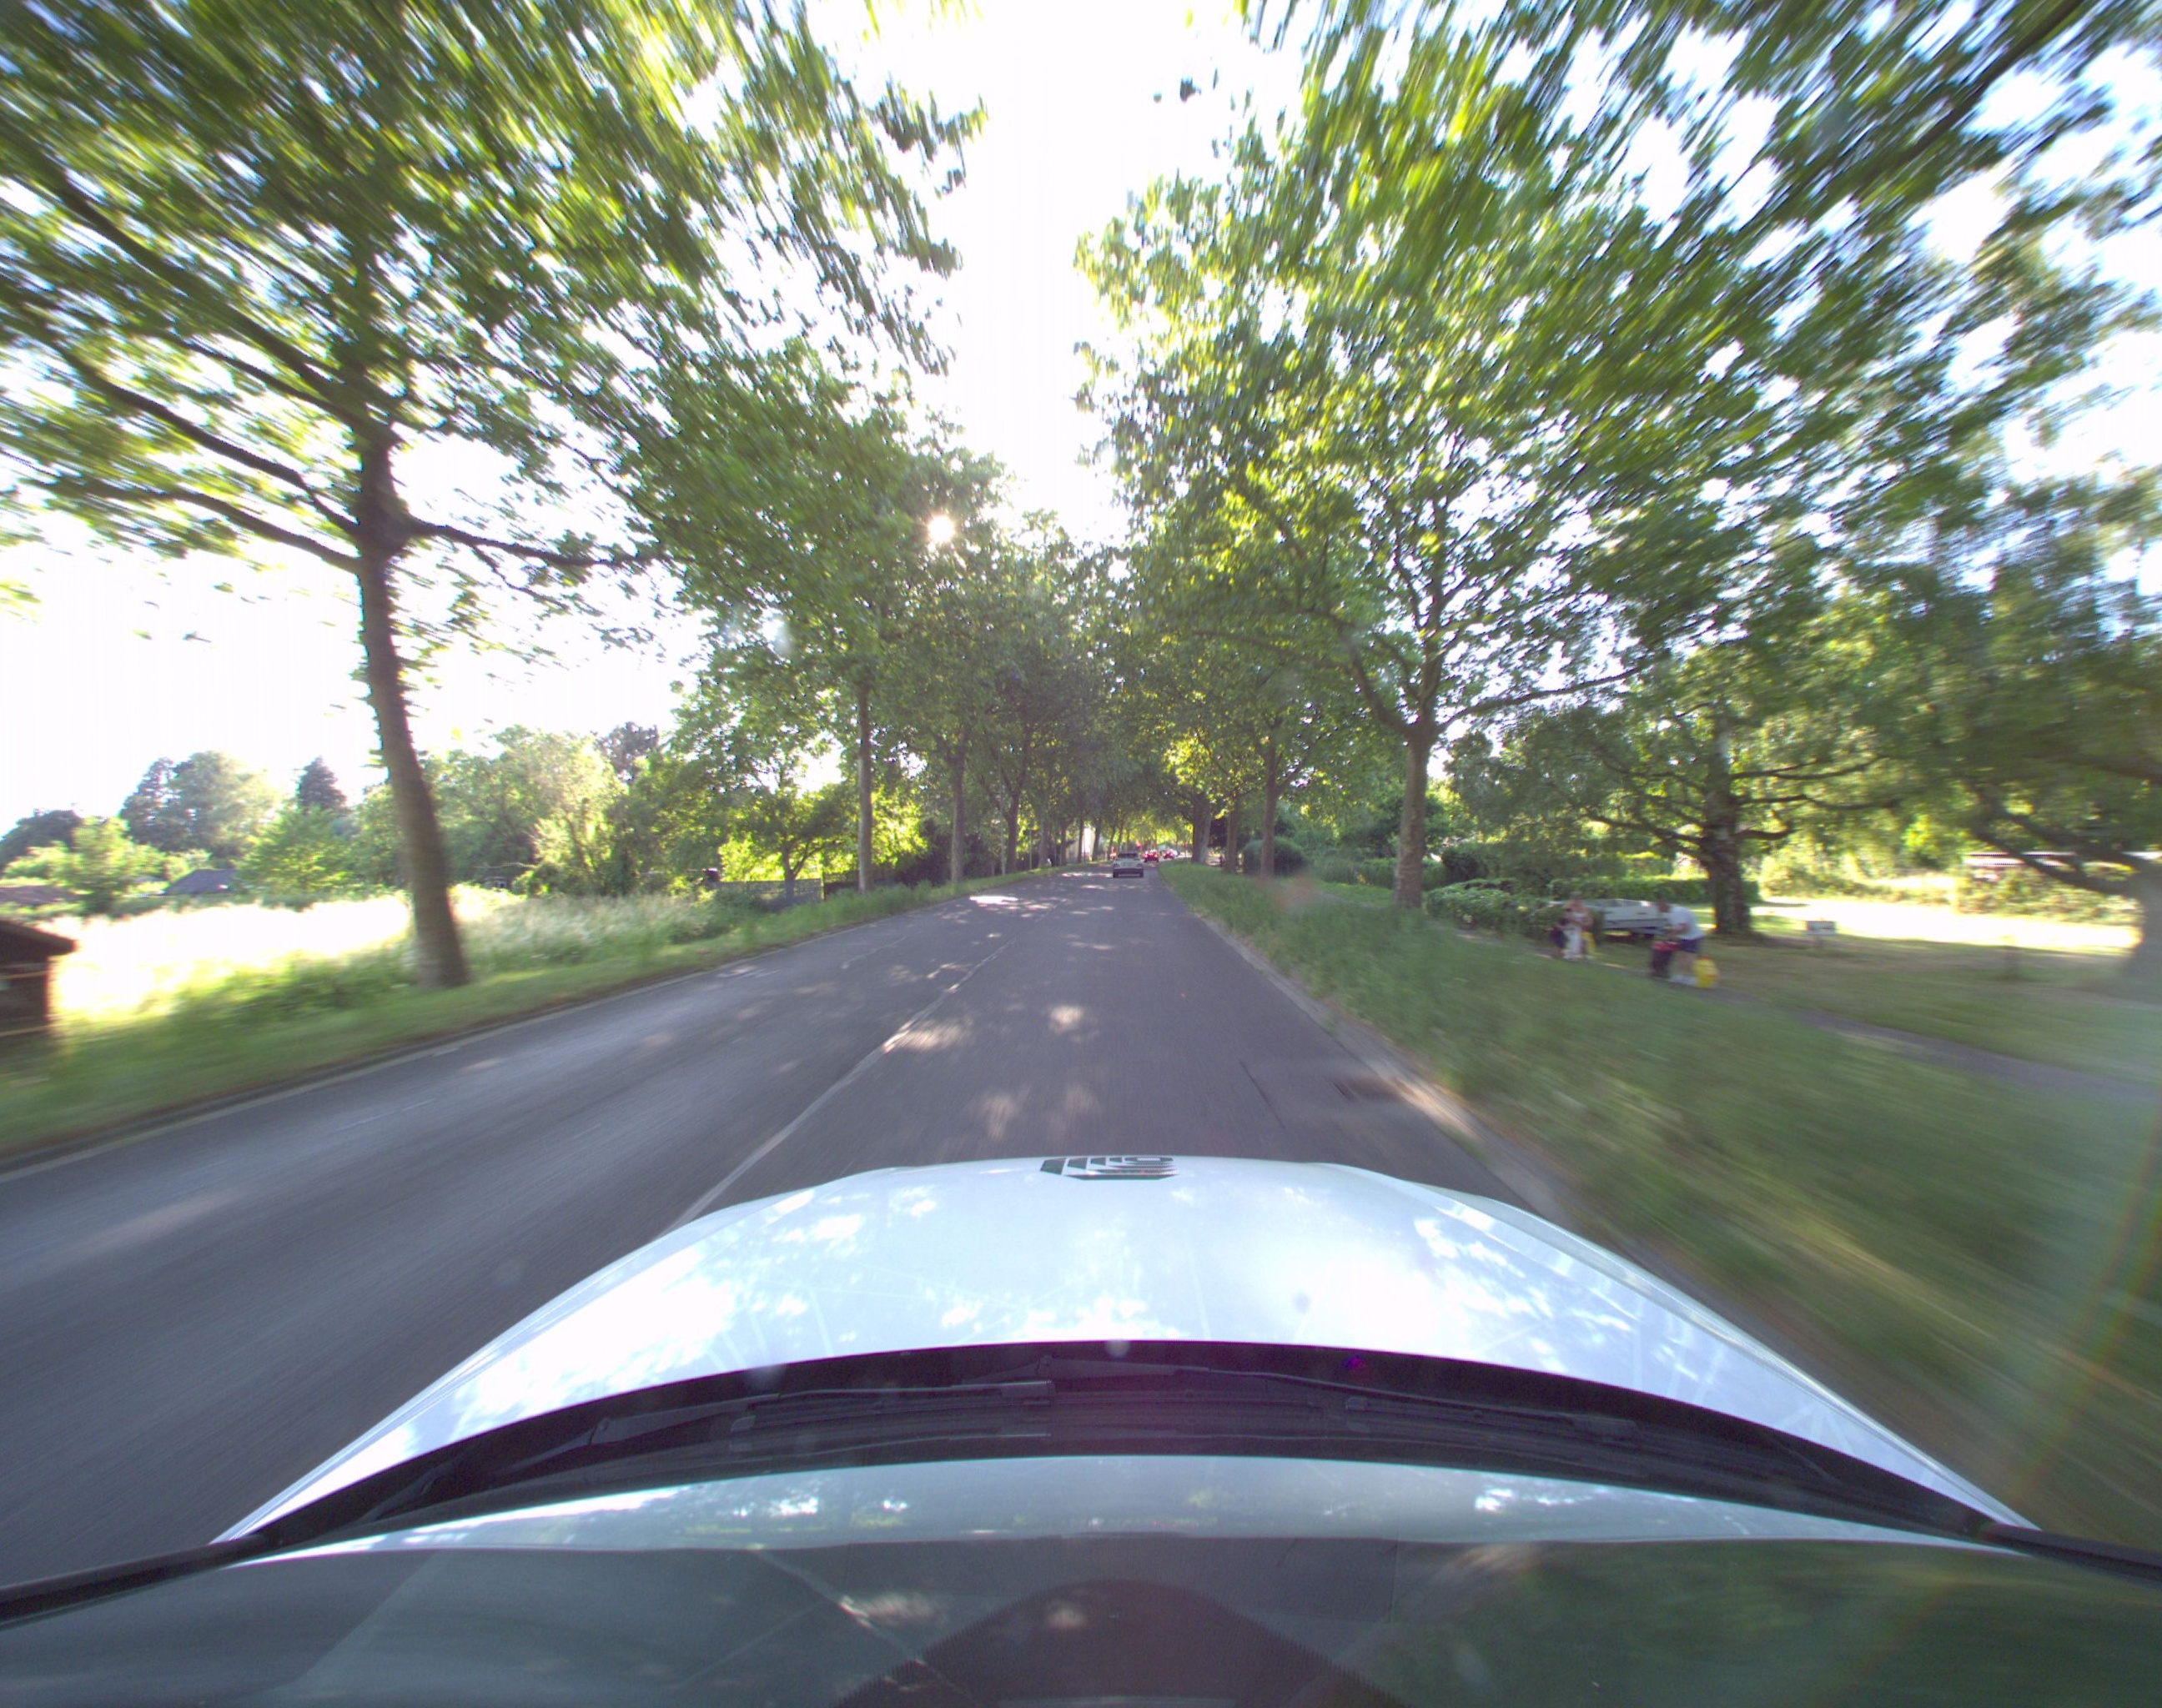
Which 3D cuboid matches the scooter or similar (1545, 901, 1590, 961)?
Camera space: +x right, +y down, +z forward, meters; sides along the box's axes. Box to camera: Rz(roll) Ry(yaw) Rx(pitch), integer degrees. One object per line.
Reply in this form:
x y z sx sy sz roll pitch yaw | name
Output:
10.282 1.602 17.198 1.608 1.135 0.337 0 -1 -42 | scooter or similar

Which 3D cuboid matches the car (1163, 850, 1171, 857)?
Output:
23.065 -0.118 219.064 1.982 2.014 4.009 0 0 8 | car

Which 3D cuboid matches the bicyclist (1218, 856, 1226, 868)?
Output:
16.023 0.867 92.841 0.732 1.366 0.770 0 -1 -4 | bicyclist

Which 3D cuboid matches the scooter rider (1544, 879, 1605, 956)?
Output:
10.547 1.335 17.413 0.847 1.576 0.777 0 -1 -30 | scooter rider

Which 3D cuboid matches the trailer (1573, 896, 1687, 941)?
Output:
13.981 1.630 20.827 2.106 1.052 1.203 0 -1 7 | trailer

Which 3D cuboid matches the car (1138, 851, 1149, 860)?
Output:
13.607 0.313 177.815 1.982 2.014 4.010 0 0 9 | car

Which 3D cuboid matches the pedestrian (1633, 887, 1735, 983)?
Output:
10.754 1.411 14.565 0.842 1.576 1.202 0 -1 -11 | pedestrian

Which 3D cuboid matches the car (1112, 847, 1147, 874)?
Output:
2.944 0.393 49.198 1.984 1.574 4.004 0 0 4 | car

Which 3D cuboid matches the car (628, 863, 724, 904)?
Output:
-20.466 1.457 41.237 3.960 2.014 2.007 0 -1 12 | car

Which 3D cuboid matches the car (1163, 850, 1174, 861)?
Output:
16.269 0.263 151.784 1.984 2.014 4.006 0 0 6 | car

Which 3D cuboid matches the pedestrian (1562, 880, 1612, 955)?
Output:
11.200 1.373 18.031 0.775 1.576 0.850 -1 -1 43 | pedestrian

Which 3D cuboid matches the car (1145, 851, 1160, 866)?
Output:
9.662 0.613 110.770 1.984 2.014 4.005 0 0 5 | car

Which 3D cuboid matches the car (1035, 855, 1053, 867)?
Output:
-4.686 0.864 102.911 1.744 1.304 4.004 -2 1 4 | car
